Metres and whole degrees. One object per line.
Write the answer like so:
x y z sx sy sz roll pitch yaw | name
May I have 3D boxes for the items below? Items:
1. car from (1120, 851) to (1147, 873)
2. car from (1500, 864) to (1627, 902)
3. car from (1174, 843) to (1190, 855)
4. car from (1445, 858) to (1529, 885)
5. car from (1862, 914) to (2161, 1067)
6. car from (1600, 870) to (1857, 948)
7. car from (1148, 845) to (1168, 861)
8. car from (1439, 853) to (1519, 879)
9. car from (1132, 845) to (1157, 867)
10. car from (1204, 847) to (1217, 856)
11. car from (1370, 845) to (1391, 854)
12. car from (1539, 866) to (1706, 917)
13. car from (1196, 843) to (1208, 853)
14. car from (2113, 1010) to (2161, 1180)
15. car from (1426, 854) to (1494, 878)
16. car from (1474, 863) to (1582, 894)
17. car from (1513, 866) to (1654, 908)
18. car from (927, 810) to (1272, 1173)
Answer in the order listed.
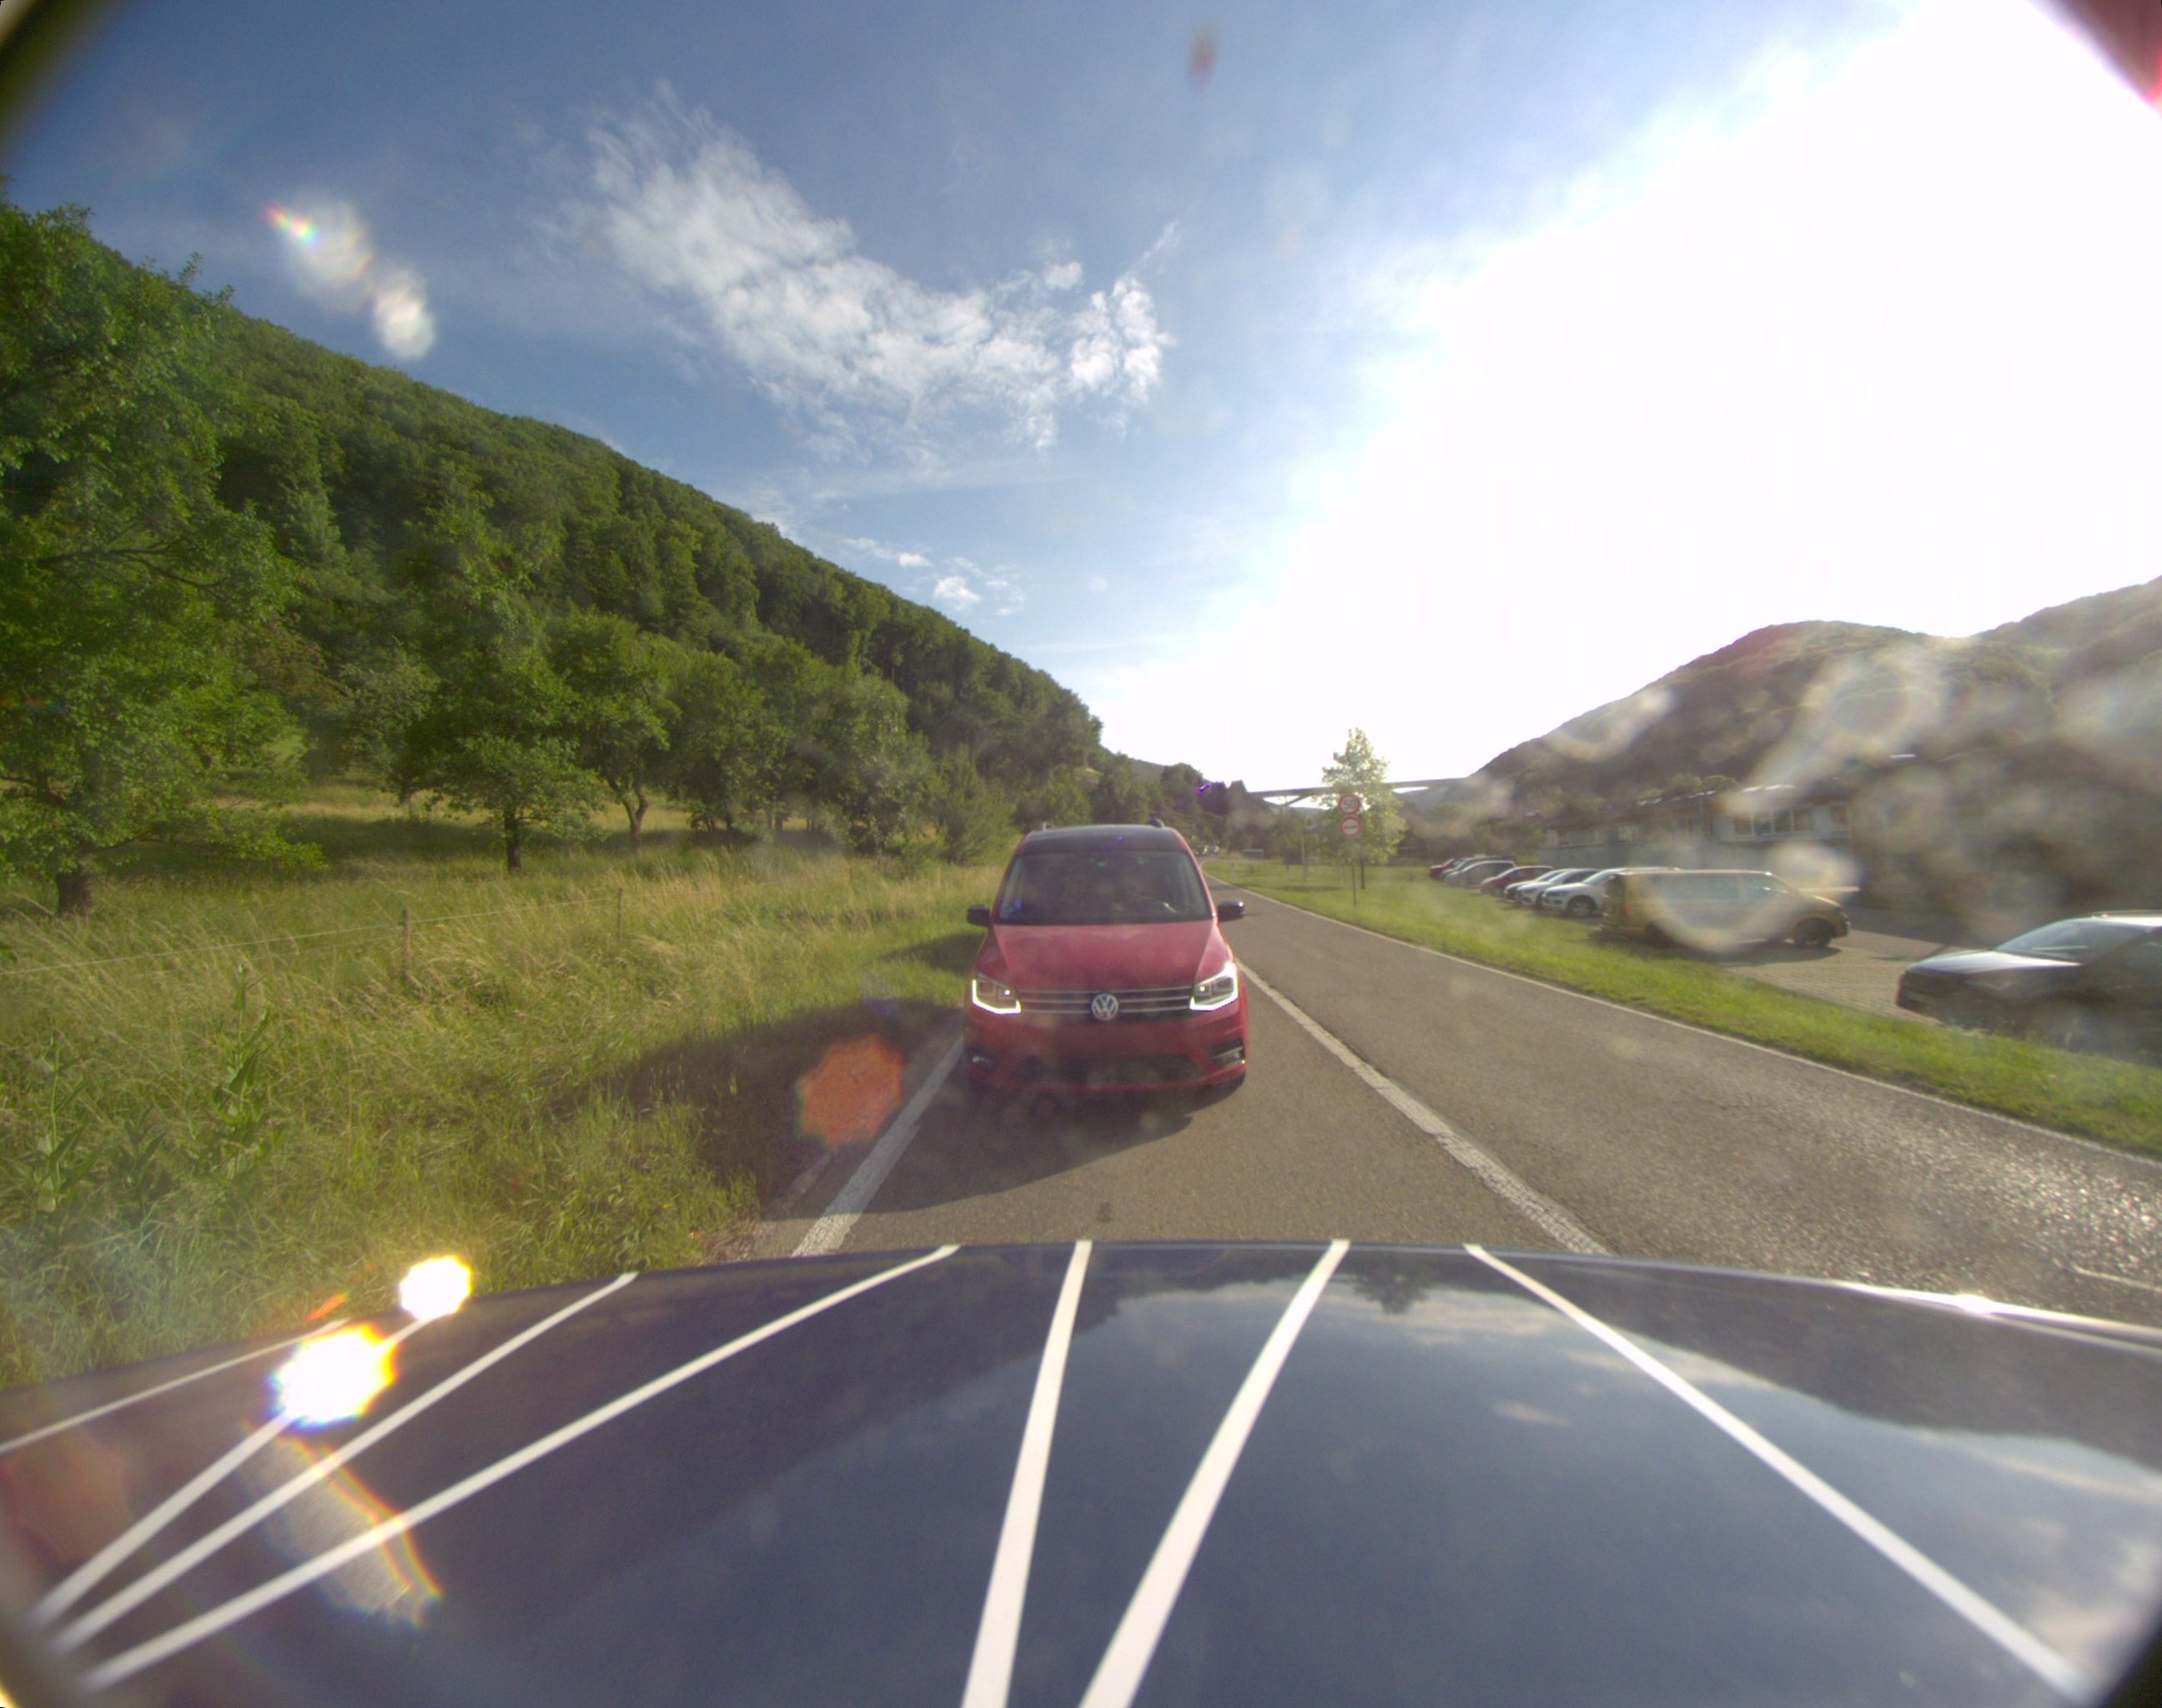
3.780 0.567 53.858 1.798 1.464 4.285 -2 0 5 | car
21.411 1.267 33.937 4.437 1.573 2.003 -1 0 18 | car
15.085 -0.794 113.772 1.797 1.725 4.288 -2 0 14 | car
25.808 1.108 48.459 4.437 1.573 2.003 -2 0 18 | car
13.533 1.706 9.882 4.289 1.628 1.915 -3 0 15 | car
16.503 1.352 19.711 4.653 1.802 2.003 -1 0 20 | car
8.517 -0.125 84.050 1.911 1.675 4.003 -2 -1 10 | car
27.606 0.841 52.920 4.665 1.752 2.003 -1 0 18 | car
5.690 0.192 67.485 1.997 1.838 4.002 -2 0 7 | car
25.953 -0.469 152.115 1.996 1.706 4.006 -4 -2 17 | car
51.953 -0.749 131.709 1.994 1.518 4.783 -1 0 40 | car
19.326 1.324 27.385 4.545 1.691 2.003 -1 0 20 | car
21.859 -1.036 137.287 1.676 1.637 3.350 -2 0 17 | car
12.082 2.235 5.900 4.645 1.488 1.915 -1 0 15 | car
28.895 0.929 58.094 4.437 1.709 2.003 -1 0 18 | car
22.705 1.244 38.812 4.437 1.443 2.003 -1 0 20 | car
20.202 1.320 30.783 4.437 1.577 2.003 -1 0 20 | car
0.123 0.736 6.146 1.747 1.849 4.348 -2 0 1 | car
